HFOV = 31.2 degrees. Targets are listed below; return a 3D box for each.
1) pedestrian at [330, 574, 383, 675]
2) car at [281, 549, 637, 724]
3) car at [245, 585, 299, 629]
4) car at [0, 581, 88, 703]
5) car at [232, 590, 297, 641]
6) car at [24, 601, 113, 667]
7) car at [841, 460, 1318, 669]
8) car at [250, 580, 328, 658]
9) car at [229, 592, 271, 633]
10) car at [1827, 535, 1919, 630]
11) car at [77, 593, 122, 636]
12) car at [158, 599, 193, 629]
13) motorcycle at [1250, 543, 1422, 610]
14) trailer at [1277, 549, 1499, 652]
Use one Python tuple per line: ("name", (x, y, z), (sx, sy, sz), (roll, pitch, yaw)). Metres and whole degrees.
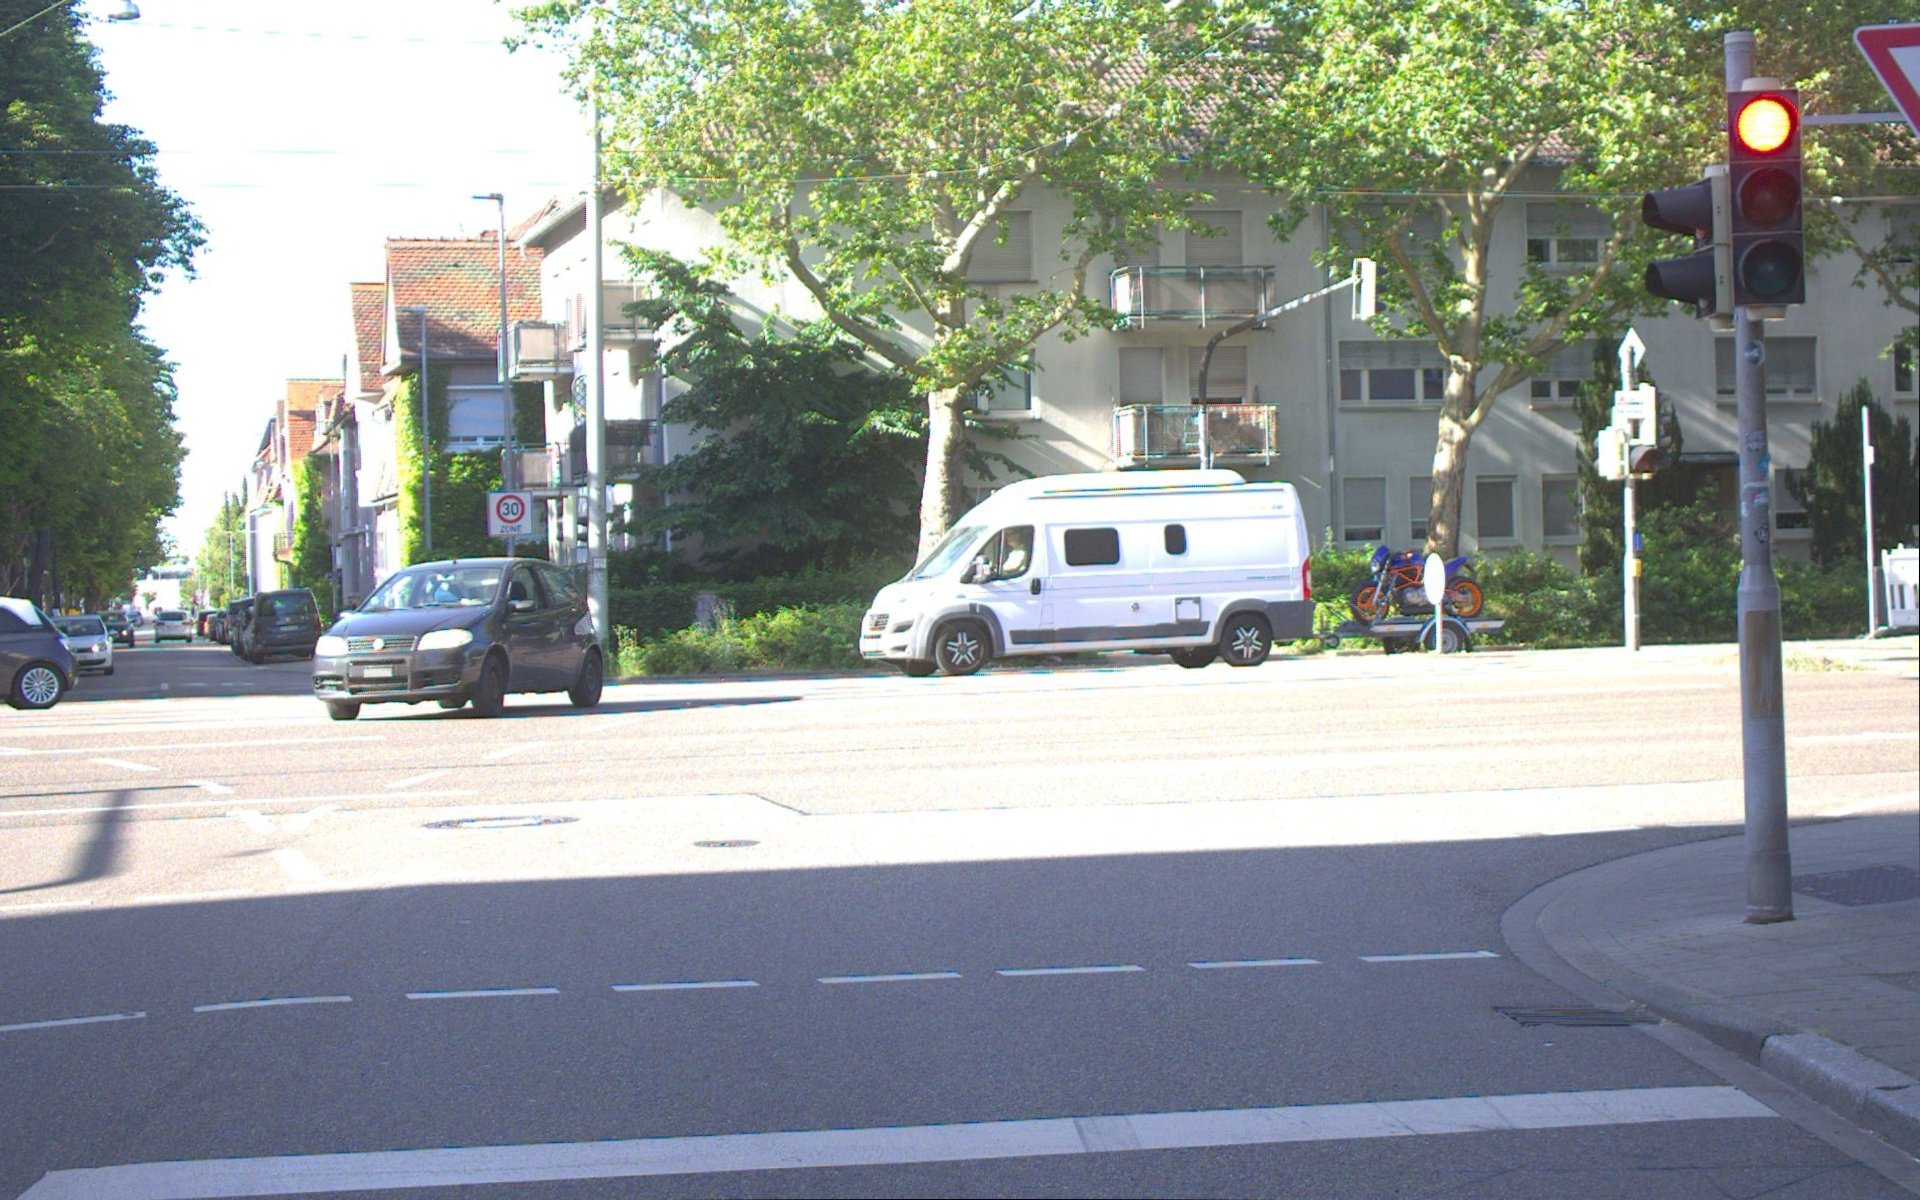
("pedestrian", (-10.475, 0.426, 59.655), (0.659, 1.744, 0.633), (-1, 0, 43))
("car", (-4.574, 0.297, 31.963), (1.655, 1.446, 3.997), (-1, 1, 18))
("car", (-23.237, 0.235, 115.996), (1.516, 1.485, 2.856), (0, 0, -17))
("car", (-12.879, 0.561, 43.481), (3.379, 1.482, 1.525), (-2, 1, -22))
("car", (-25.383, 0.557, 125.413), (1.993, 1.826, 4.001), (-1, 0, -16))
("car", (-21.644, 0.808, 83.504), (1.993, 1.441, 4.001), (-2, 1, -15))
("car", (1.609, -0.503, 46.335), (6.039, 2.559, 2.001), (-2, 1, -18))
("car", (-18.474, 0.496, 94.765), (1.993, 2.007, 4.001), (-2, 1, -10))
("car", (-30.144, 0.531, 145.991), (1.639, 1.627, 3.282), (-2, 1, -11))
("car", (14.716, -0.268, 50.393), (3.650, 1.349, 1.608), (-1, 0, -23))
("car", (-34.559, 0.572, 138.146), (1.546, 1.627, 3.235), (-2, 1, -11))
("car", (-40.570, 0.722, 177.767), (1.673, 1.477, 3.523), (-1, 0, -12))
("motorcycle", (7.159, -0.457, 65.519), (2.863, 1.174, 1.478), (-2, 1, -16))
("trailer", (5.911, -0.004, 47.535), (2.739, 1.306, 1.271), (-2, 1, -19))
